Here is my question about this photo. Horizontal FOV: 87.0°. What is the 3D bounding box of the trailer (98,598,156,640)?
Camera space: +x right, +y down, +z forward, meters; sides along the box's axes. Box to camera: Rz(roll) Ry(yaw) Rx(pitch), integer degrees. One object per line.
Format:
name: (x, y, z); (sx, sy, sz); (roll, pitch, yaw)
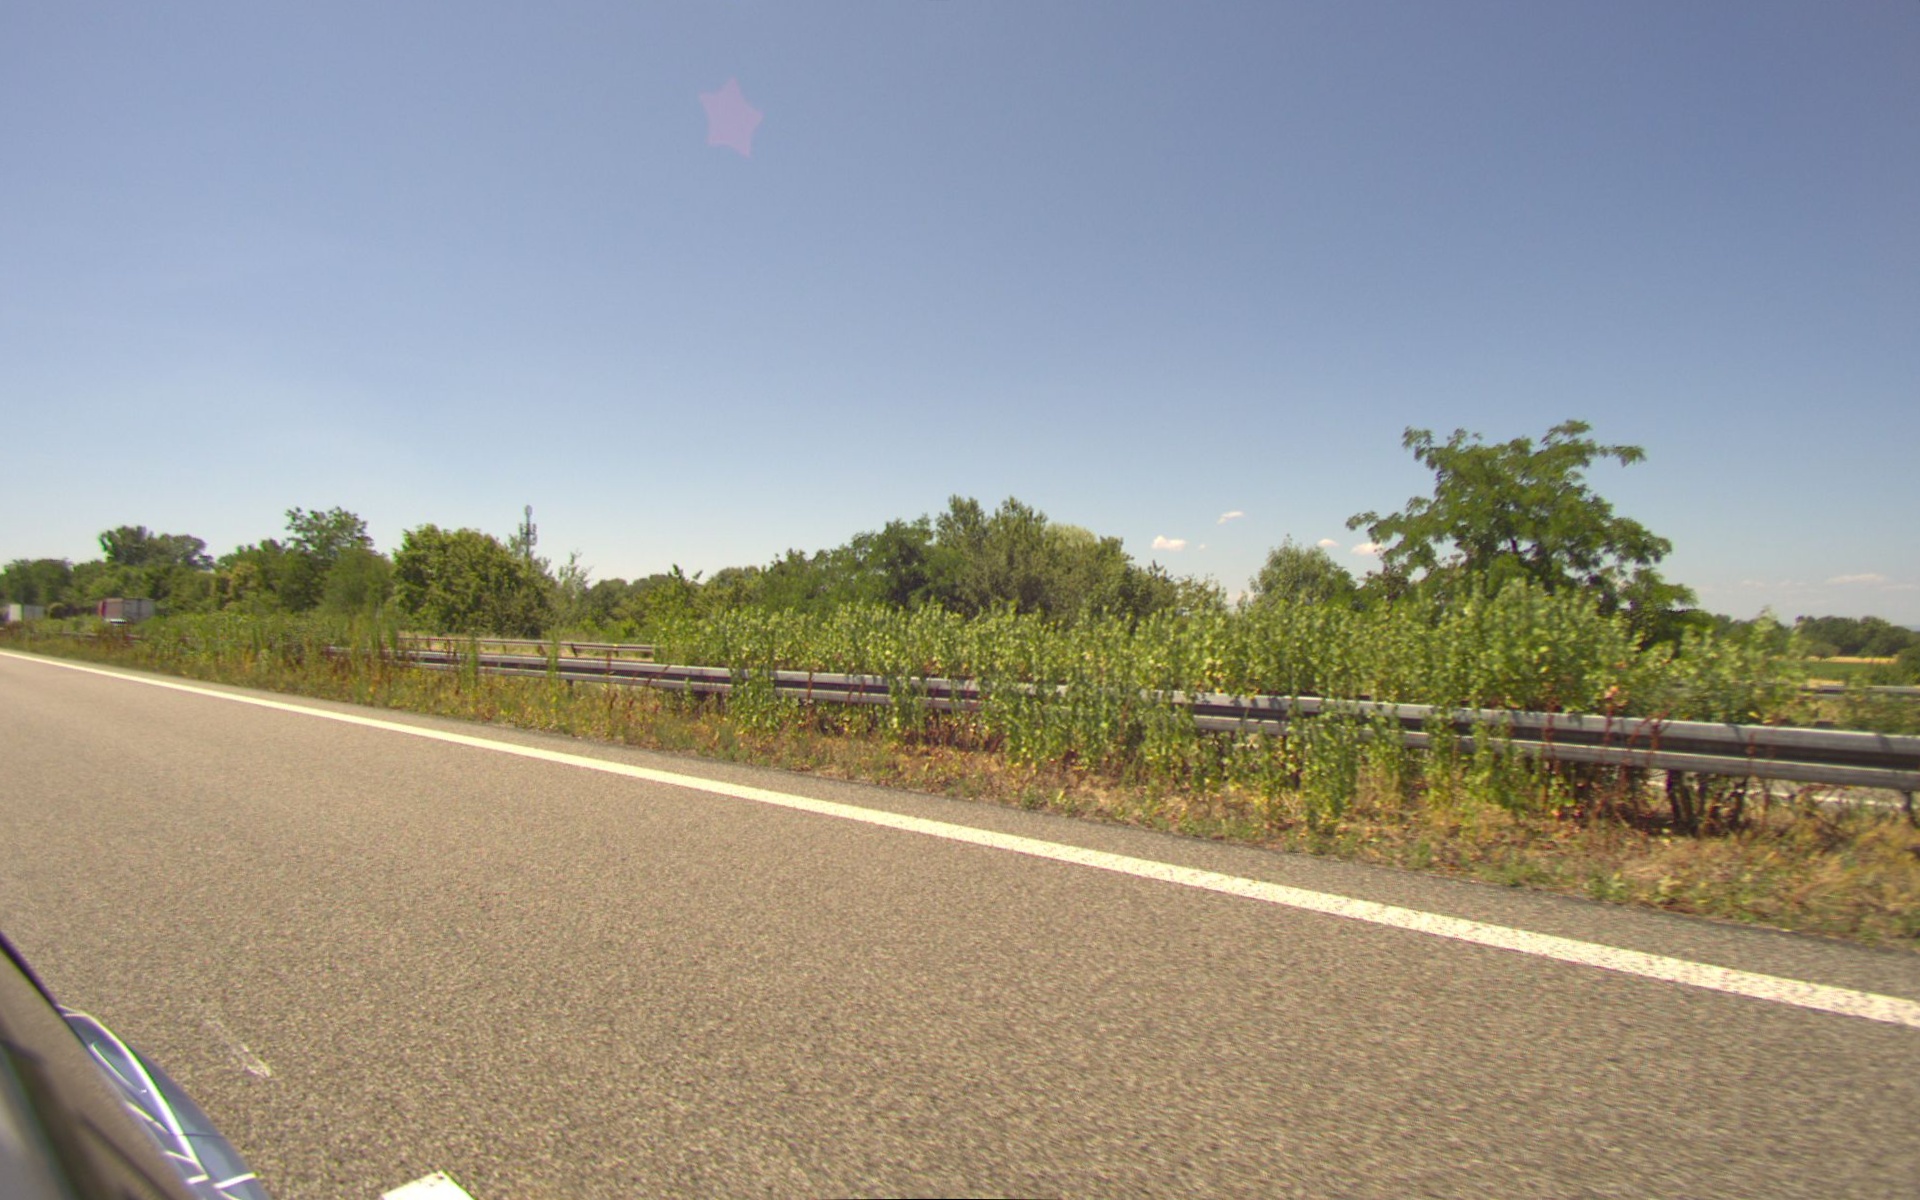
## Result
trailer: (-83.289, 1.904, 101.107); (10.625, 4.005, 2.900); (-1, -1, 42)

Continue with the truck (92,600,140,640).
truck: (-87.597, 2.022, 105.024); (6.360, 4.006, 2.929); (-1, -1, 42)

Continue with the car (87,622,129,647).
car: (-70.470, 2.822, 83.675); (3.996, 2.029, 1.974); (-1, 0, 40)

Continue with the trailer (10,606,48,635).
trailer: (-137.288, 3.013, 149.194); (12.316, 4.005, 2.901); (-1, 0, 42)
